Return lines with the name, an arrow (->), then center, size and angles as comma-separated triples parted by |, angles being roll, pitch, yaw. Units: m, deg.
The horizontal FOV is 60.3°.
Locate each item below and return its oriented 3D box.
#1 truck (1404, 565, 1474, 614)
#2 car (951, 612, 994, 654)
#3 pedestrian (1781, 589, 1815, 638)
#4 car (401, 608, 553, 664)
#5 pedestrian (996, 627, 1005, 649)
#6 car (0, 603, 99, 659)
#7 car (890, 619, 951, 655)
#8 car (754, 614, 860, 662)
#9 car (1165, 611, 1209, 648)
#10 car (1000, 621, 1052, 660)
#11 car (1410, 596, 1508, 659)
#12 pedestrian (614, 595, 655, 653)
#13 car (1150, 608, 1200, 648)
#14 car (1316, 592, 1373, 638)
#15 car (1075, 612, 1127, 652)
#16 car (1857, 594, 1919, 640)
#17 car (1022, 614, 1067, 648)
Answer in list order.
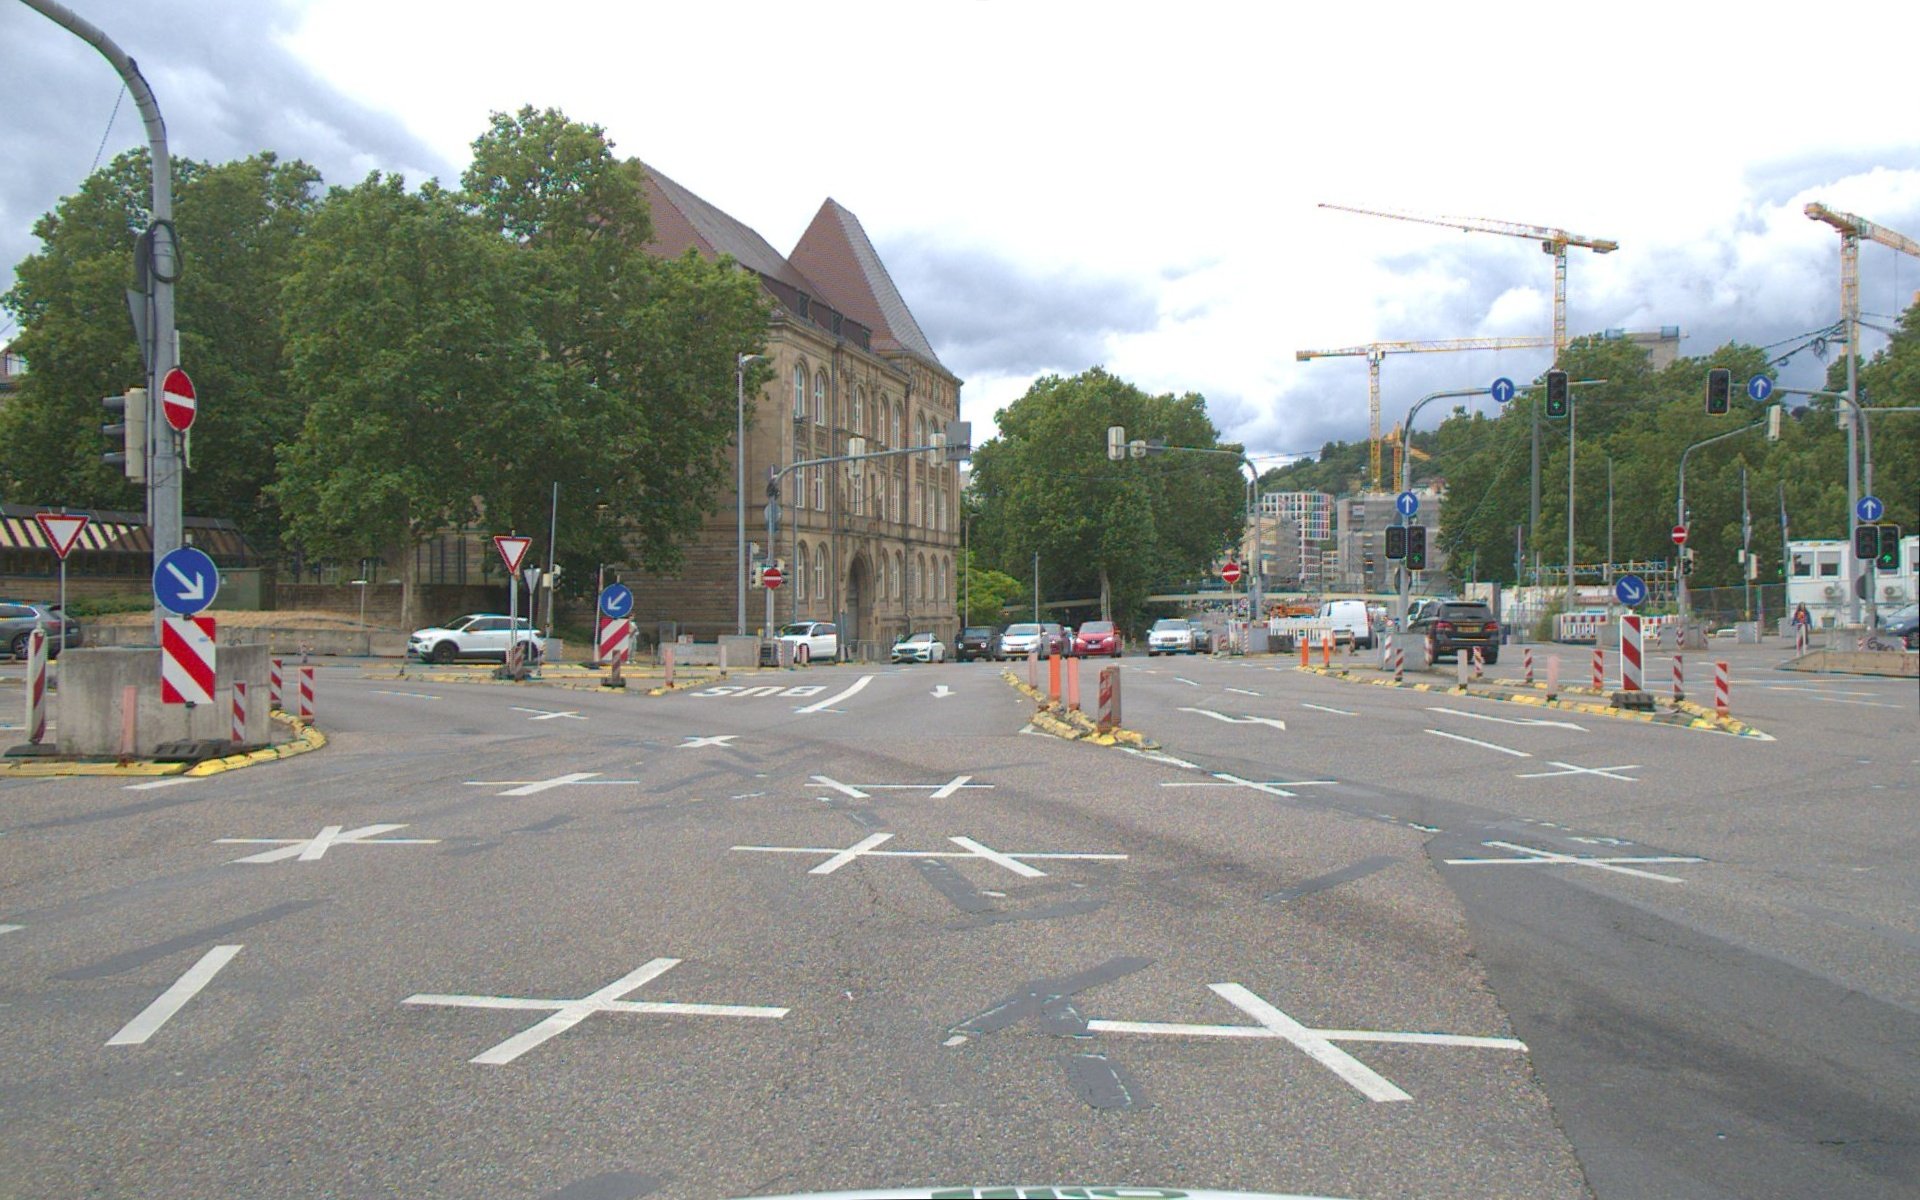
truck -> 17.460, -0.389, 60.477 | 1.893, 1.711, 4.016 | 0, 1, 8
car -> 0.685, 1.808, 89.635 | 1.891, 1.972, 3.674 | -2, -4, 6
pedestrian -> 27.863, 0.448, 54.994 | 0.610, 1.620, 0.848 | -1, -1, -11
car -> -15.413, 1.162, 52.882 | 4.286, 1.594, 1.734 | 1, 3, -38
pedestrian -> 3.086, 2.926, 126.103 | 0.645, 1.664, 0.851 | -1, -1, 7
car -> -28.131, 0.914, 48.872 | 4.381, 1.595, 1.826 | 0, 0, -8
car -> -1.741, 1.637, 74.097 | 1.697, 1.460, 4.385 | 1, 0, 13
car -> -5.704, 1.393, 62.244 | 1.777, 1.671, 4.545 | 0, 0, 28
car -> 9.758, 1.262, 70.966 | 1.653, 1.460, 3.449 | -2, -1, 11
car -> 2.680, 1.648, 66.525 | 1.624, 1.461, 3.449 | -2, -2, 9
car -> 14.107, 0.780, 46.983 | 1.897, 1.696, 3.644 | 0, -1, 4
pedestrian -> -11.764, 0.868, 59.776 | 1.177, 2.049, 1.192 | 0, -1, -29
car -> 8.398, 1.088, 64.404 | 1.653, 1.460, 3.449 | -2, -1, 11
car -> 14.587, 0.588, 62.834 | 1.721, 1.717, 3.645 | -1, -1, 7
car -> 5.549, 1.245, 64.760 | 1.650, 1.460, 3.450 | -2, -1, 11
car -> 31.611, 0.530, 53.819 | 3.979, 1.460, 1.783 | 0, 0, -9
car -> 3.779, 1.380, 73.647 | 1.624, 1.460, 3.450 | 1, 0, 9
